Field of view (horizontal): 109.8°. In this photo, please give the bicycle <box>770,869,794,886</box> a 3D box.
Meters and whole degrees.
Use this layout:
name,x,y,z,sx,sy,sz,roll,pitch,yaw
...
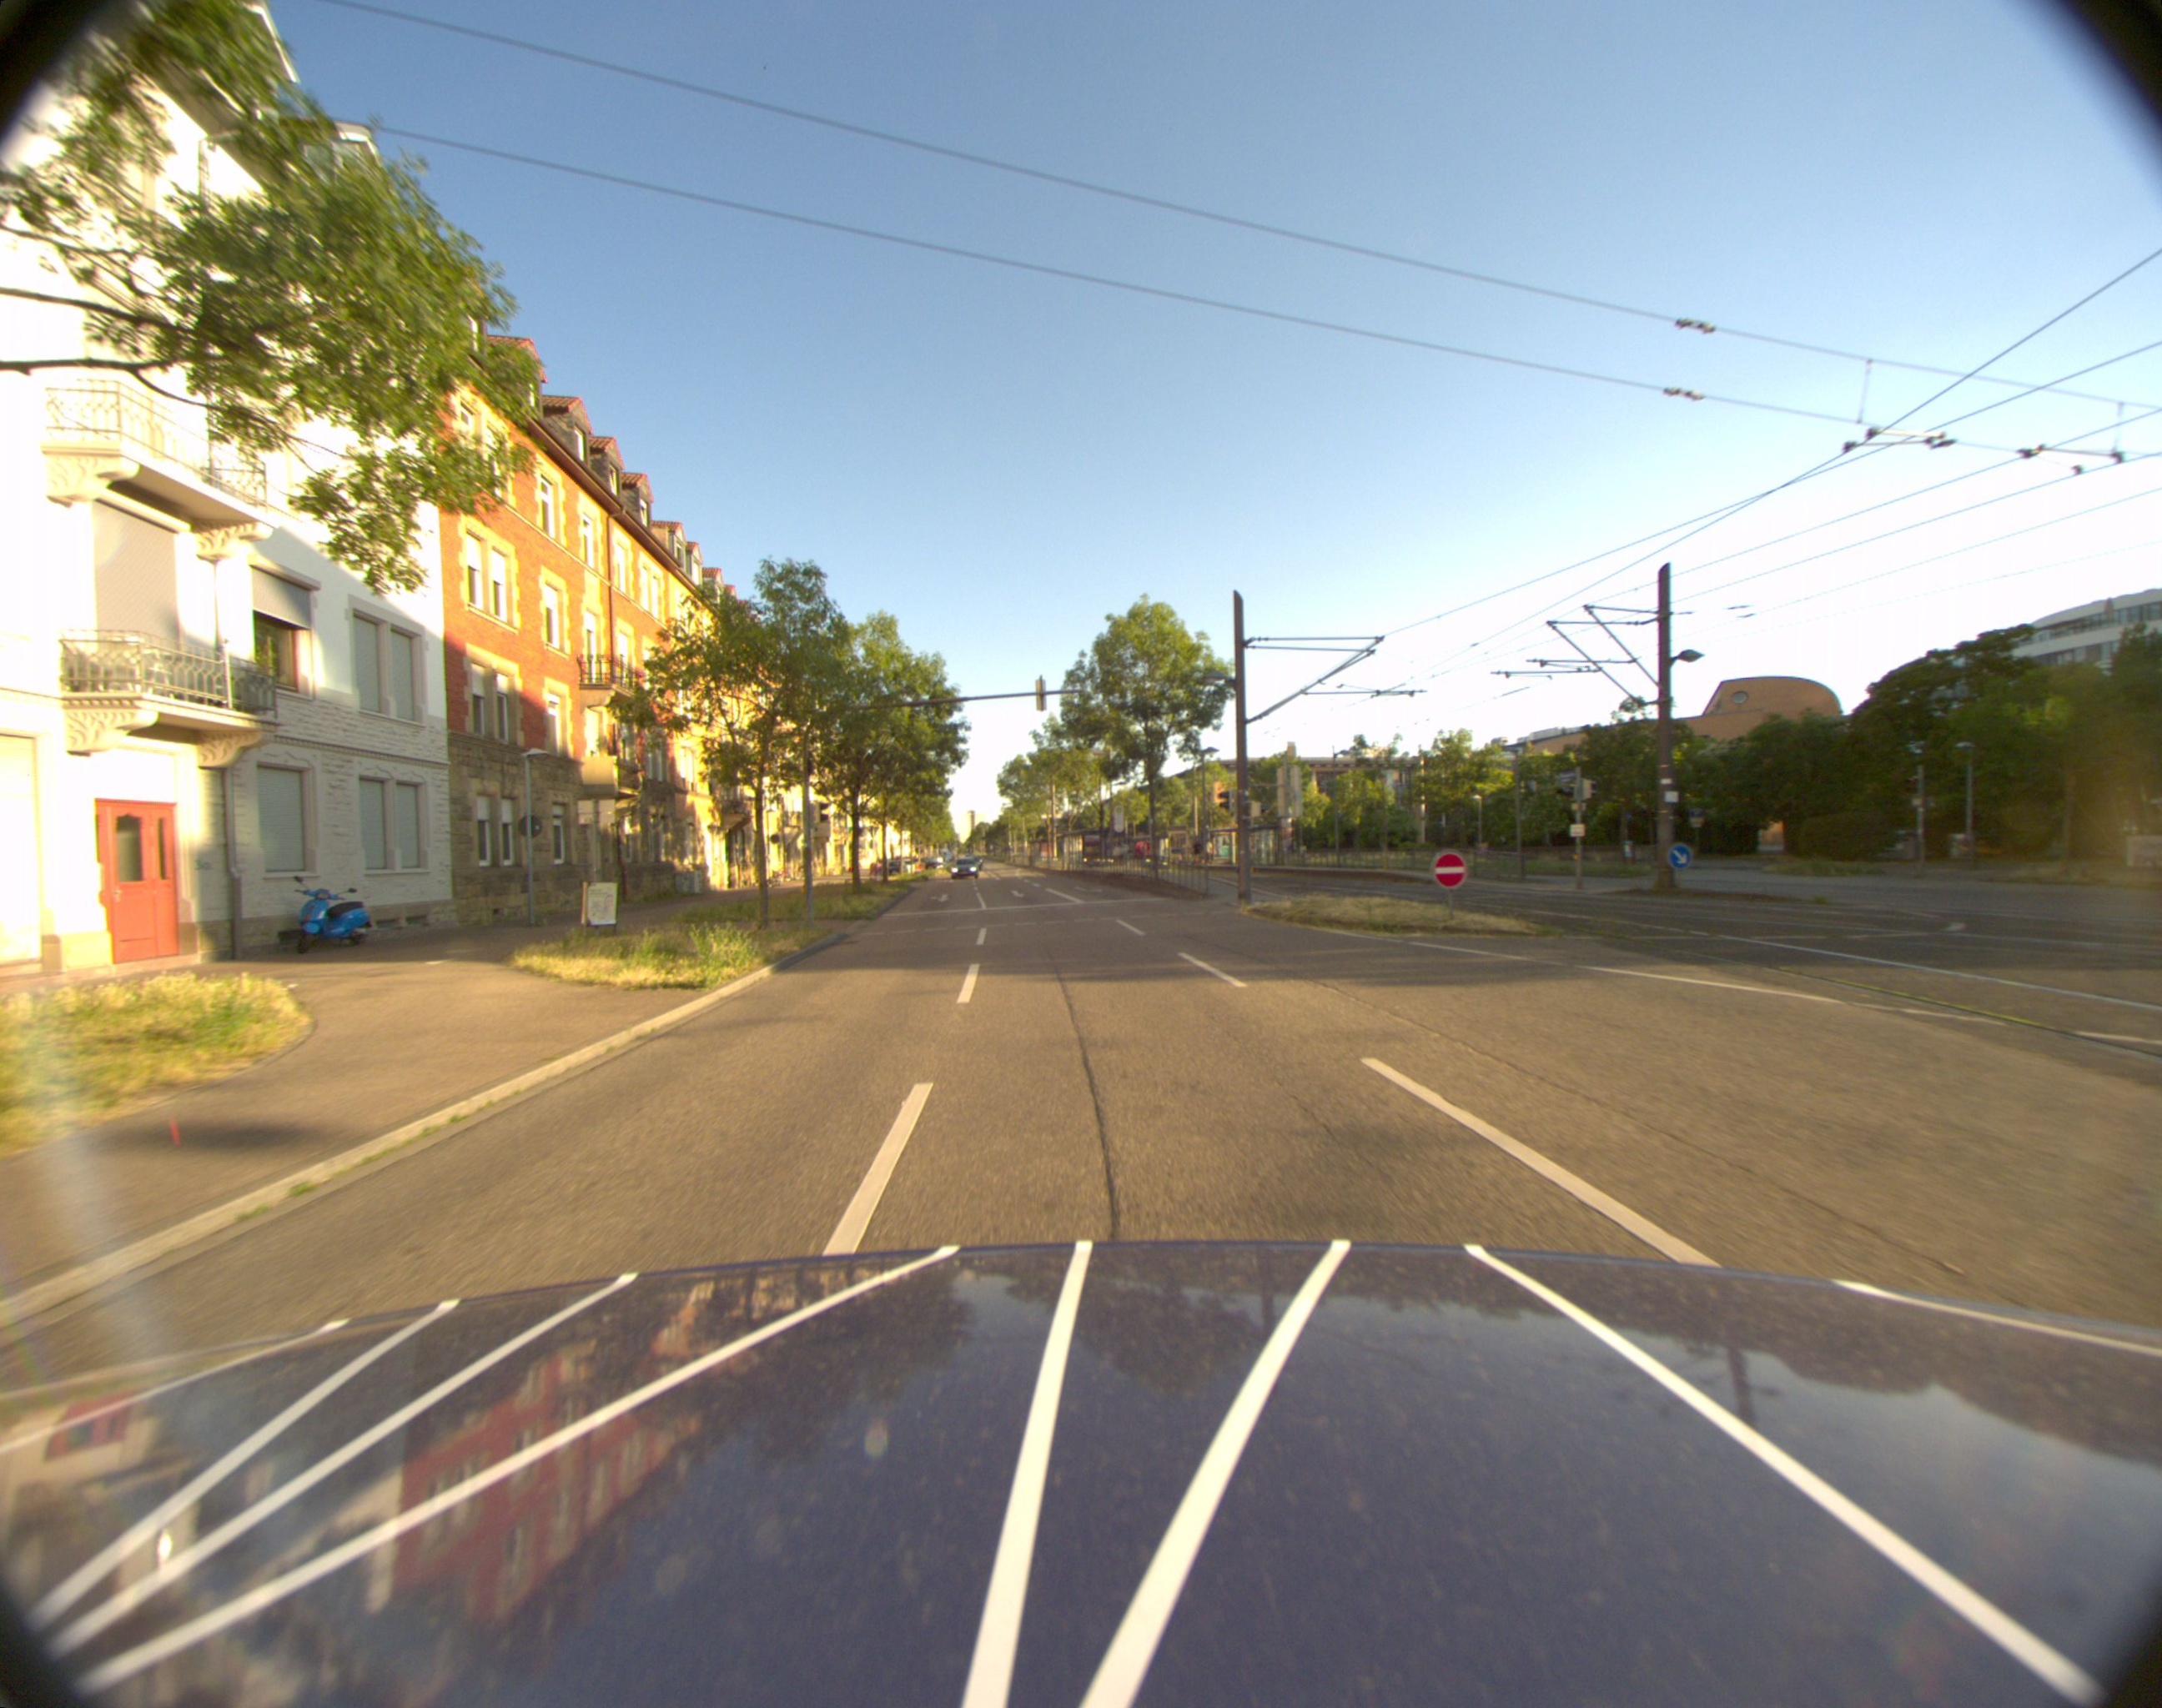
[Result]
name,x,y,z,sx,sy,sz,roll,pitch,yaw
bicycle,-18.235,1.398,46.436,0.736,0.942,2.338,-1,1,-5

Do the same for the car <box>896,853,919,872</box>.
name,x,y,z,sx,sy,sz,roll,pitch,yaw
car,-16.075,0.758,70.510,1.731,1.503,4.268,-5,1,-9

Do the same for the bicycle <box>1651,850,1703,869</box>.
name,x,y,z,sx,sy,sz,roll,pitch,yaw
bicycle,28.099,0.246,35.868,0.776,0.816,1.964,-2,1,-6

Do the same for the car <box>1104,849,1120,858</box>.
name,x,y,z,sx,sy,sz,roll,pitch,yaw
car,4.603,-0.103,112.871,1.699,1.290,3.997,-2,1,-8

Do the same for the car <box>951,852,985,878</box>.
name,x,y,z,sx,sy,sz,roll,pitch,yaw
car,-8.035,0.758,54.337,1.999,1.655,3.998,-2,1,-4

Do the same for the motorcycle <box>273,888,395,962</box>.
name,x,y,z,sx,sy,sz,roll,pitch,yaw
motorcycle,-14.552,1.345,14.888,0.555,1.207,2.070,-3,1,-10

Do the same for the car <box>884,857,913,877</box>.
name,x,y,z,sx,sy,sz,roll,pitch,yaw
car,-14.639,1.012,61.166,1.709,1.440,4.285,-5,1,-8

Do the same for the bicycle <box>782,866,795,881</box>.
name,x,y,z,sx,sy,sz,roll,pitch,yaw
bicycle,-20.974,1.382,54.521,0.485,0.999,1.745,-2,1,-8

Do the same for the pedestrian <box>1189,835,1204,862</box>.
name,x,y,z,sx,sy,sz,roll,pitch,yaw
pedestrian,8.467,-0.407,55.960,0.772,2.002,1.126,-2,1,-6

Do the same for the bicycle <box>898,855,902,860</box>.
name,x,y,z,sx,sy,sz,roll,pitch,yaw
bicycle,-36.227,0.717,152.268,0.590,1.072,2.226,0,0,-9

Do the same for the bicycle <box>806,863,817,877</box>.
name,x,y,z,sx,sy,sz,roll,pitch,yaw
bicycle,-22.303,1.314,62.933,0.485,1.158,1.745,3,0,-8

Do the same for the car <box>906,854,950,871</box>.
name,x,y,z,sx,sy,sz,roll,pitch,yaw
car,-16.772,0.931,83.416,4.331,1.562,2.005,-3,0,24

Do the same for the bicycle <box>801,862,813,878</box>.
name,x,y,z,sx,sy,sz,roll,pitch,yaw
bicycle,-22.025,1.279,61.051,0.485,1.158,1.745,3,0,-8

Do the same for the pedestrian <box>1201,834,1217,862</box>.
name,x,y,z,sx,sy,sz,roll,pitch,yaw
pedestrian,9.322,-0.460,55.332,0.772,2.002,1.126,-2,1,-6

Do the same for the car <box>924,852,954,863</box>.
name,x,y,z,sx,sy,sz,roll,pitch,yaw
car,-22.467,0.538,120.318,4.422,1.682,1.919,-2,1,26

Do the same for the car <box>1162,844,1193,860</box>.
name,x,y,z,sx,sy,sz,roll,pitch,yaw
car,10.163,-0.186,80.262,2.000,1.543,4.890,-2,1,-7

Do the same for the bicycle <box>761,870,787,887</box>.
name,x,y,z,sx,sy,sz,roll,pitch,yaw
bicycle,-17.719,1.399,43.930,0.875,0.911,2.083,0,1,-7

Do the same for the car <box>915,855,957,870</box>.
name,x,y,z,sx,sy,sz,roll,pitch,yaw
car,-16.373,0.923,85.912,4.277,1.513,1.850,-2,1,24

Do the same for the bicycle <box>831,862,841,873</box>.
name,x,y,z,sx,sy,sz,roll,pitch,yaw
bicycle,-24.278,1.318,75.286,0.574,1.067,1.895,-1,1,-9

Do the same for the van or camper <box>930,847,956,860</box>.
name,x,y,z,sx,sy,sz,roll,pitch,yaw
van or camper,-32.359,-0.079,178.237,5.638,2.796,2.207,-1,1,23

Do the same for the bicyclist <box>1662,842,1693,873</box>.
name,x,y,z,sx,sy,sz,roll,pitch,yaw
bicyclist,28.108,0.157,35.816,0.770,1.459,0.827,-2,1,-6
